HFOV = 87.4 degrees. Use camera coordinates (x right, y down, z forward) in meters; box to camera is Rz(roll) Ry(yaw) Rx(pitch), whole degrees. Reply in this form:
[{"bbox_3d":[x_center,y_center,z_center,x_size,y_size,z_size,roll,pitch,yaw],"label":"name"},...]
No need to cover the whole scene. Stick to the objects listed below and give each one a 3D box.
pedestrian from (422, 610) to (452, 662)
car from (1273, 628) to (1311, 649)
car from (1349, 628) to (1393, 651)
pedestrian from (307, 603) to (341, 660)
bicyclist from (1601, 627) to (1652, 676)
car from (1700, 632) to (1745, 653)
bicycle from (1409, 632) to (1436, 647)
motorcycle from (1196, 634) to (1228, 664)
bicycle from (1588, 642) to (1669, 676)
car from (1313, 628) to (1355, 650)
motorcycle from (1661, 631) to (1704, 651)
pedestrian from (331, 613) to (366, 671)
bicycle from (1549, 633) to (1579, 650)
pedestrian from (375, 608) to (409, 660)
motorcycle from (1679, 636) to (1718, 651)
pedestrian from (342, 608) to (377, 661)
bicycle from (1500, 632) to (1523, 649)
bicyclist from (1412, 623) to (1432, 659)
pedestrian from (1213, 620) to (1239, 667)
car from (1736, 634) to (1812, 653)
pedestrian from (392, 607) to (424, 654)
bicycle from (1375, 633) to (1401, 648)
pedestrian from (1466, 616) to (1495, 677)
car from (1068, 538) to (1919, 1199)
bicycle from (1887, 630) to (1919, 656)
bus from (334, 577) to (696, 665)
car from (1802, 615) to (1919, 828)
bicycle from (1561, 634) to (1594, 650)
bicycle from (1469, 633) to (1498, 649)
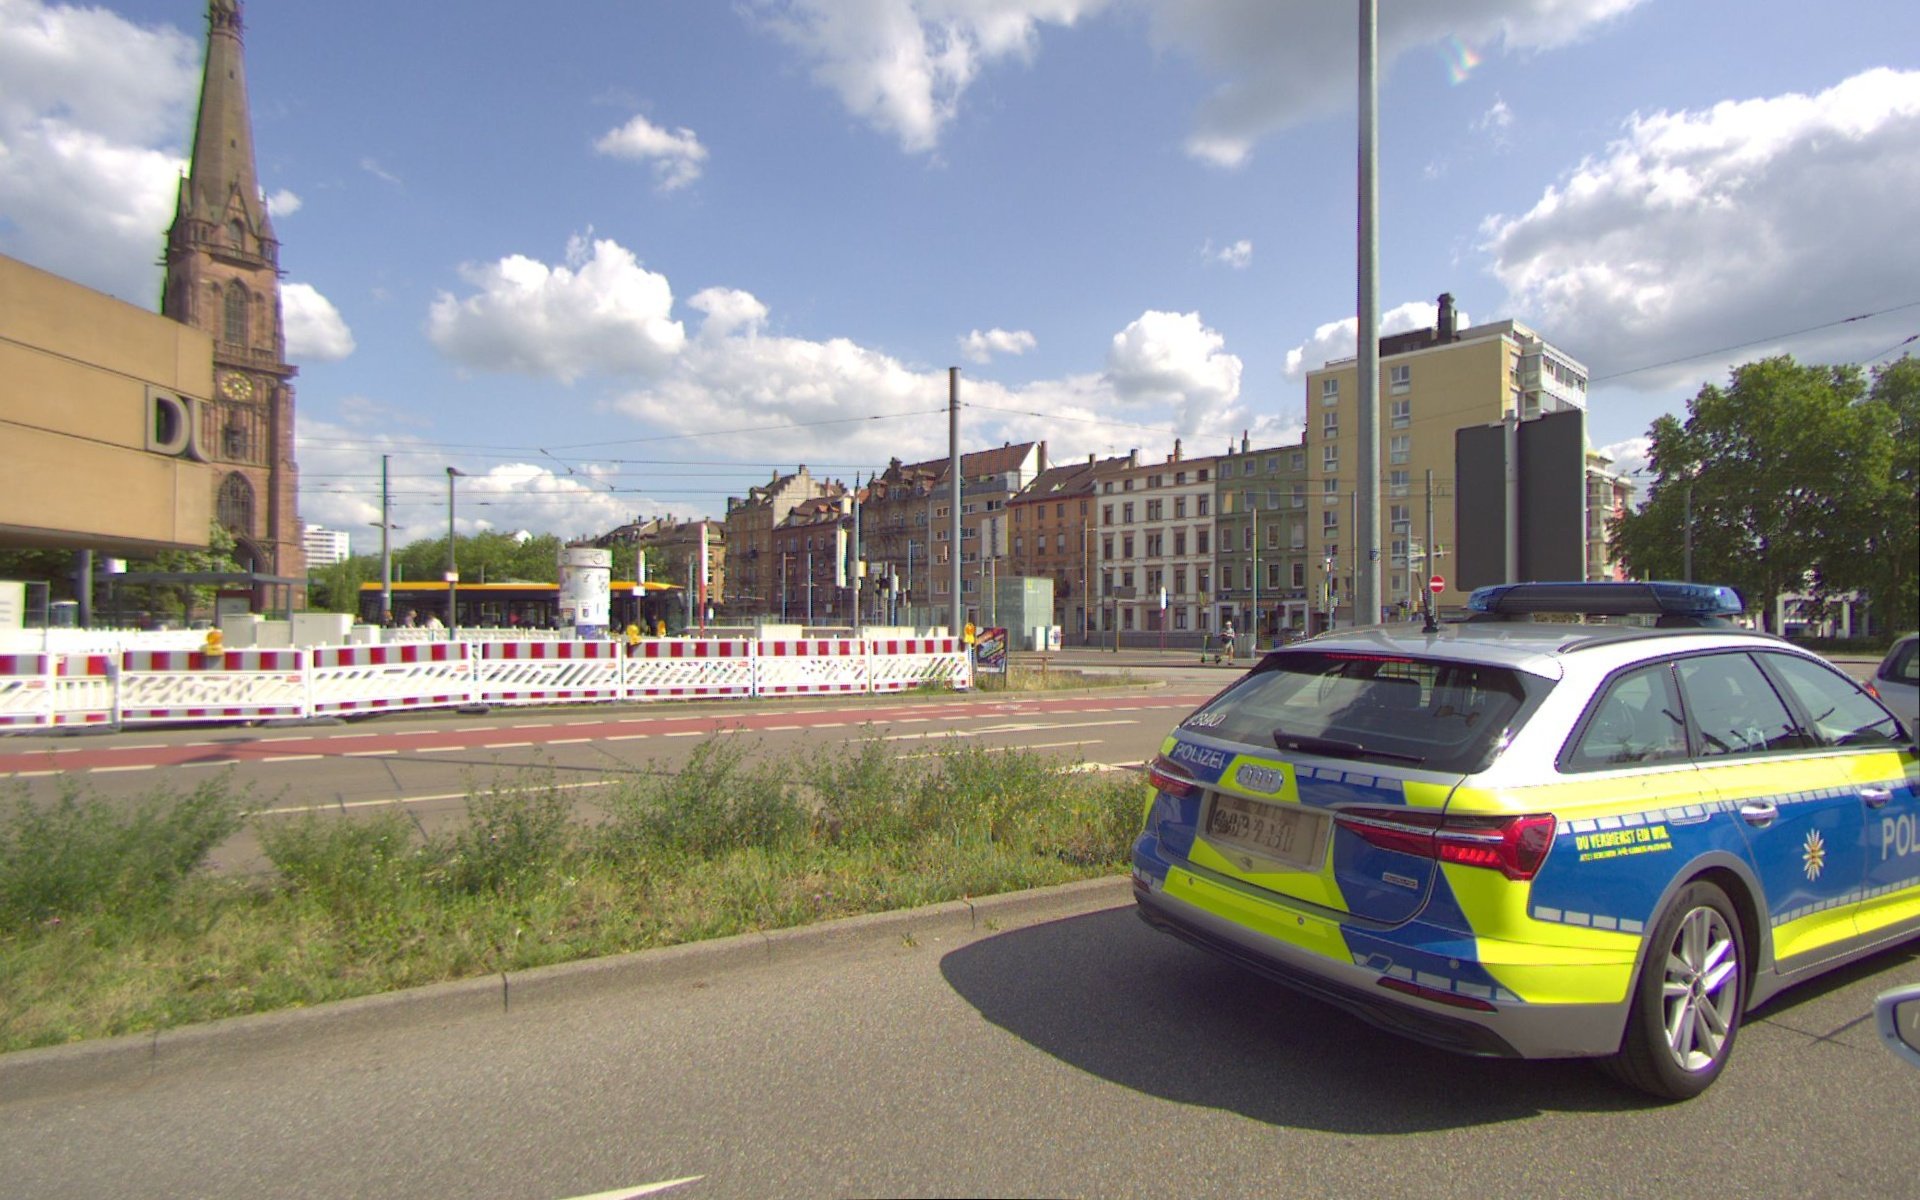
[{"bbox_3d":[-16.716,1.147,32.117,0.641,1.653,0.764,1,-1,-11],"label":"pedestrian"},{"bbox_3d":[25.140,2.910,76.213,1.861,1.516,3.902,1,-2,4],"label":"car"},{"bbox_3d":[29.678,2.861,72.584,1.861,1.516,3.903,1,-2,5],"label":"car"},{"bbox_3d":[-18.771,0.928,29.640,0.549,1.651,0.732,1,-1,-7],"label":"pedestrian"},{"bbox_3d":[24.531,1.896,36.976,0.984,1.753,1.290,2,-2,-32],"label":"bicyclist"},{"bbox_3d":[55.417,3.109,73.014,3.970,1.432,1.888,4,-4,-42],"label":"car"},{"bbox_3d":[35.633,3.026,77.369,1.783,1.118,0.792,0,-1,42],"label":"bicycle"},{"bbox_3d":[10.615,2.064,42.334,0.478,1.253,1.437,2,-2,-27],"label":"motorcycle"},{"bbox_3d":[24.551,2.160,36.948,0.984,1.204,2.281,2,-3,-32],"label":"bicycle"},{"bbox_3d":[27.324,2.846,73.555,1.861,1.516,3.902,1,-2,4],"label":"car"},{"bbox_3d":[46.844,2.659,65.157,0.890,1.254,2.214,0,-1,-12],"label":"motorcycle"},{"bbox_3d":[-17.806,1.221,29.238,0.760,1.653,0.645,2,-1,-41],"label":"pedestrian"},{"bbox_3d":[43.546,2.972,72.407,1.784,1.162,0.792,0,-1,43],"label":"bicycle"},{"bbox_3d":[-18.453,1.101,32.650,0.640,1.653,0.765,1,-1,-4],"label":"pedestrian"},{"bbox_3d":[50.423,2.971,68.567,2.003,0.929,0.812,-1,-1,7],"label":"motorcycle"},{"bbox_3d":[-19.034,1.077,31.837,0.640,1.653,0.765,1,-1,-4],"label":"pedestrian"},{"bbox_3d":[40.707,2.974,74.103,1.791,1.275,0.789,1,-1,-34],"label":"bicycle"},{"bbox_3d":[24.474,2.169,53.250,0.768,1.821,0.706,2,0,41],"label":"bicyclist"},{"bbox_3d":[10.838,1.757,40.874,0.753,1.821,1.027,2,0,29],"label":"pedestrian"},{"bbox_3d":[59.025,3.174,72.896,1.615,1.344,3.967,3,-3,-31],"label":"car"},{"bbox_3d":[-19.697,1.079,35.844,0.751,1.653,0.652,1,-1,-4],"label":"pedestrian"},{"bbox_3d":[33.771,3.196,79.234,1.783,1.118,0.792,0,-1,42],"label":"bicycle"},{"bbox_3d":[16.925,1.489,32.655,0.753,1.928,0.825,2,0,29],"label":"pedestrian"},{"bbox_3d":[2.848,0.712,4.301,4.561,1.589,1.871,1,-2,-31],"label":"car"},{"bbox_3d":[54.443,2.441,57.373,0.807,1.433,2.146,0,0,-44],"label":"bicycle"},{"bbox_3d":[-16.801,0.804,38.426,12.585,3.177,2.835,0,-1,1],"label":"bus"},{"bbox_3d":[8.580,0.896,7.866,3.953,1.494,1.839,1,-2,-30],"label":"car"},{"bbox_3d":[44.785,3.025,72.827,1.922,1.162,0.792,-1,-1,43],"label":"bicycle"},{"bbox_3d":[38.605,3.009,74.043,1.783,1.118,0.792,0,-1,42],"label":"bicycle"}]
